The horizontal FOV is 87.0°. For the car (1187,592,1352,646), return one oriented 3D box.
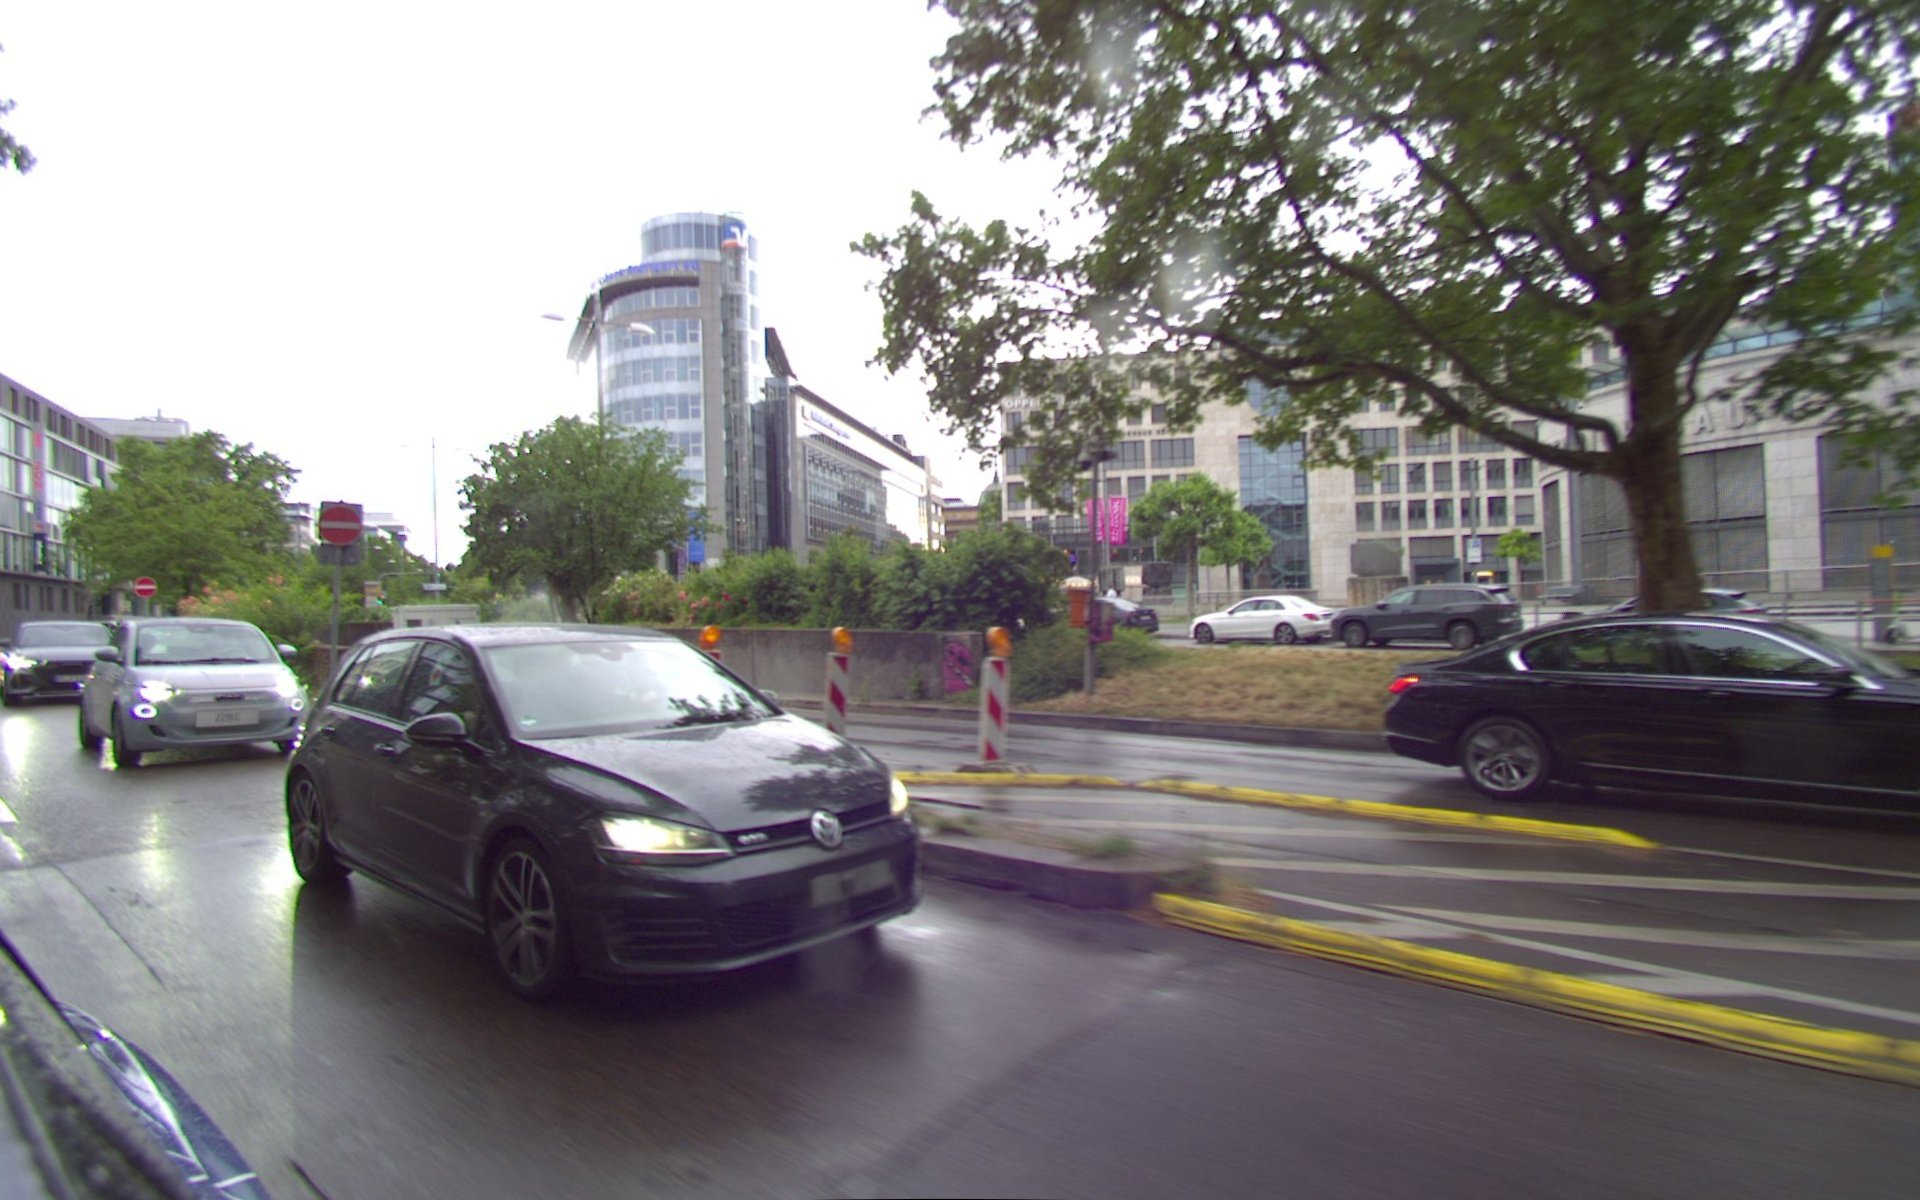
[{"bbox_3d":[9.444,0.557,31.101,1.983,1.545,4.440,-1,0,-43],"label":"car"}]

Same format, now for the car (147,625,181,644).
[{"bbox_3d":[-78.222,3.389,99.499,1.966,1.757,3.922,-2,0,-29],"label":"car"}]

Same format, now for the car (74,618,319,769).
[{"bbox_3d":[-8.793,0.960,11.569,3.493,1.452,1.591,-2,-2,42],"label":"car"}]

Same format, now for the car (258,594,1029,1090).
[{"bbox_3d":[-1.845,0.777,5.078,4.120,1.463,1.766,-2,0,41],"label":"car"}]

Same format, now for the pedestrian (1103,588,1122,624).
[{"bbox_3d":[6.878,0.275,45.653,0.570,1.639,0.563,-1,0,-43],"label":"pedestrian"}]

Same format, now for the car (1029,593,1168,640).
[{"bbox_3d":[4.842,0.580,35.978,1.983,1.545,4.715,-1,0,-43],"label":"car"}]

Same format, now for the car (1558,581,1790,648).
[{"bbox_3d":[16.307,0.314,23.270,1.819,1.392,4.047,-1,0,-42],"label":"car"}]

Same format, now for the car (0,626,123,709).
[{"bbox_3d":[-17.679,1.256,19.755,3.495,1.452,1.693,-2,-2,44],"label":"car"}]

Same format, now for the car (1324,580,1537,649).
[{"bbox_3d":[12.366,0.356,26.810,1.970,1.664,4.730,-1,0,-44],"label":"car"}]

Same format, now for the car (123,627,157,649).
[{"bbox_3d":[-72.976,3.369,90.117,1.966,1.757,3.920,-2,0,-33],"label":"car"}]

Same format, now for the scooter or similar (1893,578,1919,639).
[{"bbox_3d":[20.043,0.154,20.980,1.406,1.194,0.583,-3,1,-28],"label":"scooter or similar"}]

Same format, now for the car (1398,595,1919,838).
[{"bbox_3d":[6.094,0.737,7.502,4.880,1.490,1.851,-2,0,45],"label":"car"}]
